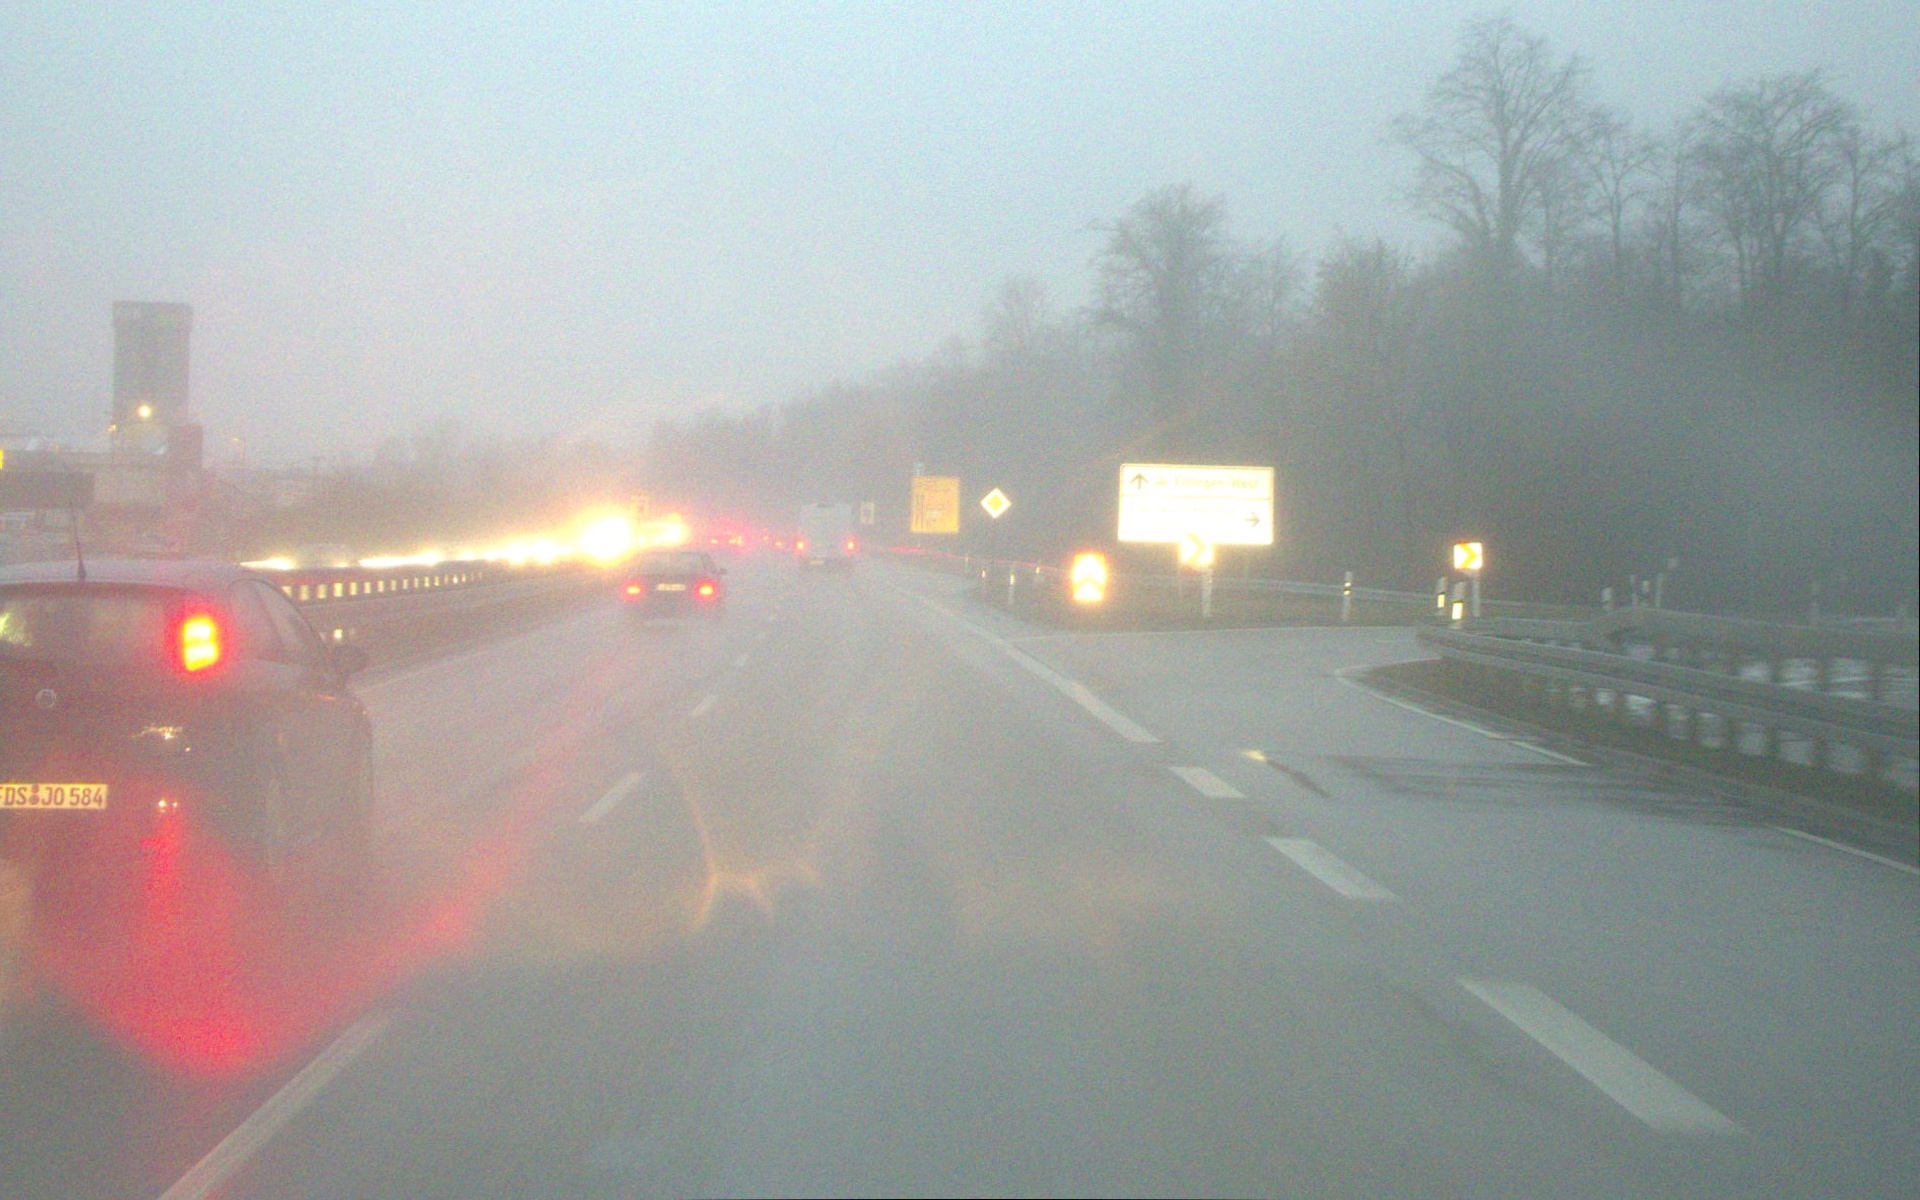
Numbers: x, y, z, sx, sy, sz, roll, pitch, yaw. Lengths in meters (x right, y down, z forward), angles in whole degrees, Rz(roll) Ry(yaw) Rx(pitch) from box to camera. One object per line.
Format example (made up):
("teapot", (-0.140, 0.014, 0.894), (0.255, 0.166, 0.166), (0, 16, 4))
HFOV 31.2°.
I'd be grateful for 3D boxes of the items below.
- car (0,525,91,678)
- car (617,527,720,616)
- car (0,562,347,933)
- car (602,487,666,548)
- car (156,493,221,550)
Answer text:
("car", (-11.062, -0.038, 38.178), (1.877, 1.574, 4.481), (0, 2, -3))
("car", (-5.211, -0.535, 61.826), (1.775, 1.529, 4.703), (0, 1, -4))
("car", (-3.858, 0.595, 15.990), (1.527, 1.411, 3.479), (3, 1, -3))
("car", (-12.035, -3.067, 126.797), (2.122, 2.113, 3.576), (3, 2, -8))
("car", (-26.400, -2.706, 117.675), (1.890, 1.815, 3.875), (3, 1, -10))
